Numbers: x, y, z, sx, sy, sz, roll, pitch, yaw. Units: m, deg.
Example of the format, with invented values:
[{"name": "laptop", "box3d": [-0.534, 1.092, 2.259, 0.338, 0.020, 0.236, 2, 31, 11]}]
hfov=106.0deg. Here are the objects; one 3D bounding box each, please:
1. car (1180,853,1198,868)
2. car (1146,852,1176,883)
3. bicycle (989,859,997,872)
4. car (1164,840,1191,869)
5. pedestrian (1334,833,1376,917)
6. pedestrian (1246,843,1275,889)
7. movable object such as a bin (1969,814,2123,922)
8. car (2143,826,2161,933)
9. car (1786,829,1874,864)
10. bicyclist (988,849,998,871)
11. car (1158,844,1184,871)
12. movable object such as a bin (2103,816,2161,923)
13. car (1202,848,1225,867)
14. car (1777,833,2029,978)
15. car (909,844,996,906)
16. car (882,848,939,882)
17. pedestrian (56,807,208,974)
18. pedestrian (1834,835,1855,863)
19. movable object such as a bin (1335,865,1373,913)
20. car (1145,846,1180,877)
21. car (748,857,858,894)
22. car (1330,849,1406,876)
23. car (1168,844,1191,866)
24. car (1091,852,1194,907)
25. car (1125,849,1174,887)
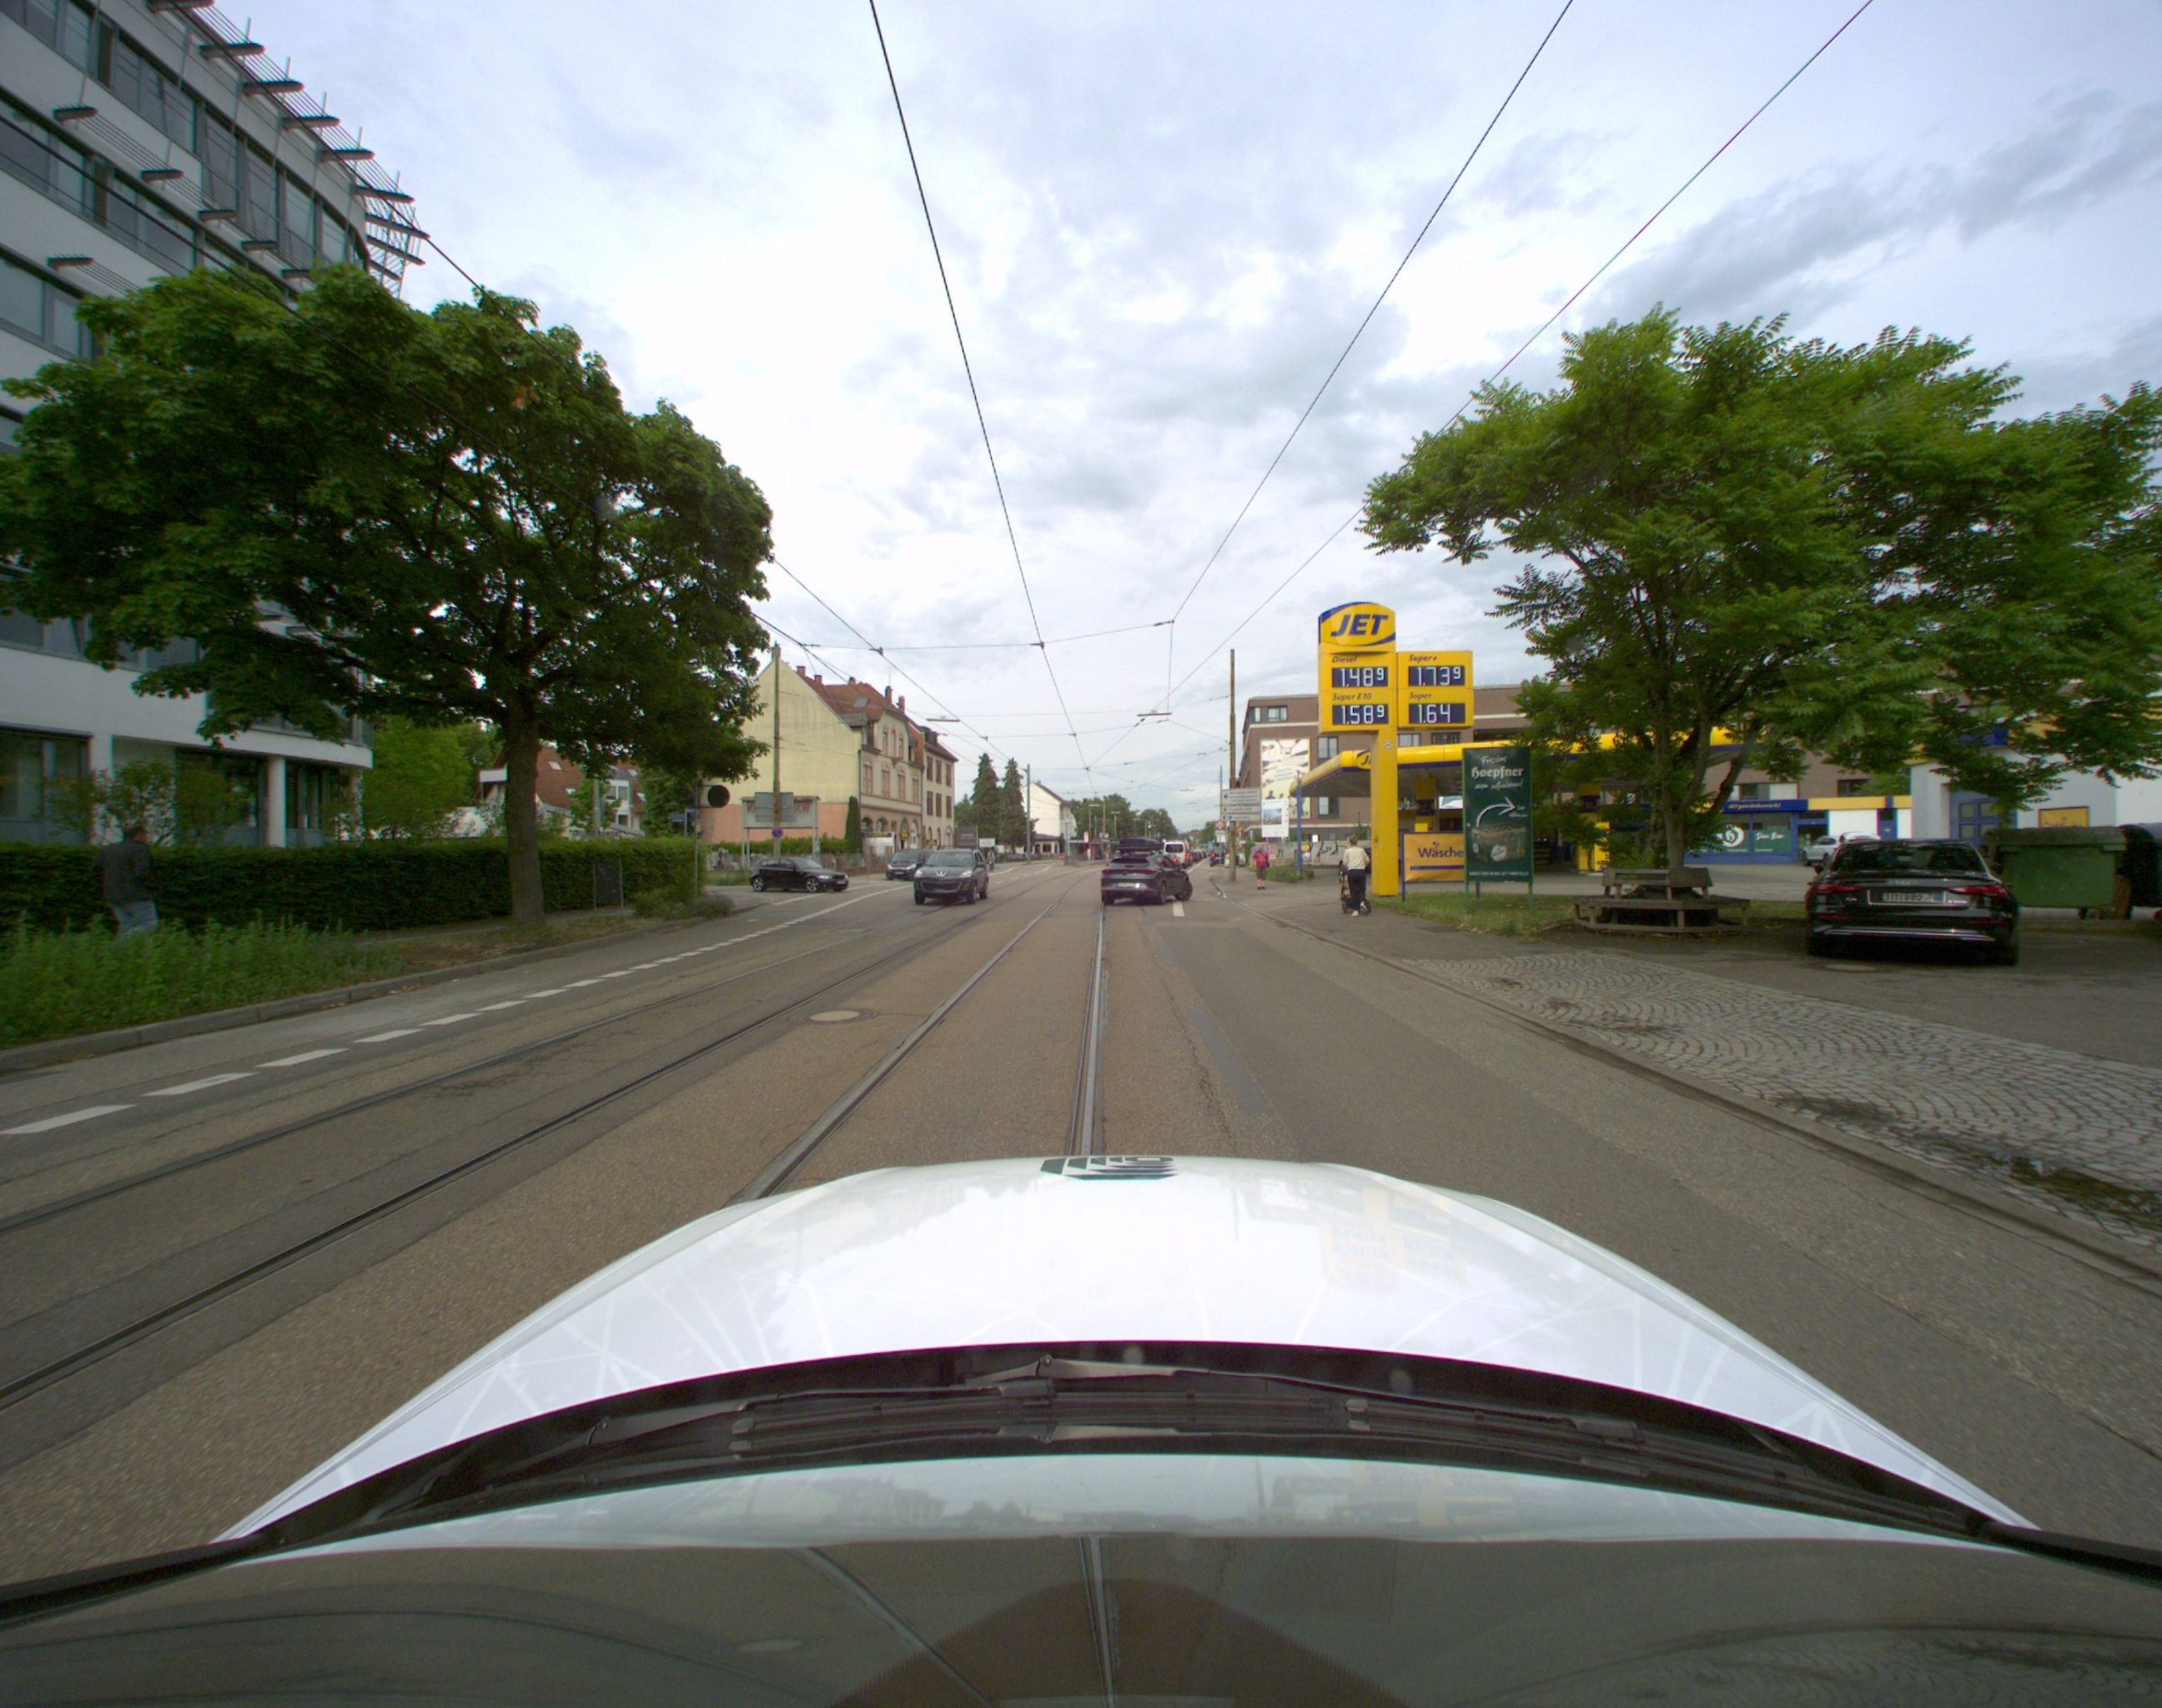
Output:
[{"name": "car", "box3d": [14.582, 0.851, 109.739, 1.986, 2.014, 4.002, 1, 0, 2]}, {"name": "car", "box3d": [5.535, 0.928, 57.064, 1.984, 2.014, 4.004, 1, 0, 4]}, {"name": "bicycle", "box3d": [-7.278, 0.949, 67.297, 0.586, 1.074, 1.951, -2, 0, -8]}, {"name": "car", "box3d": [8.456, 0.067, 71.669, 2.206, 2.423, 4.957, 1, 0, 4]}, {"name": "pedestrian", "box3d": [6.147, 0.458, 18.289, 0.762, 1.797, 1.167, -3, -1, 16]}, {"name": "pedestrian", "box3d": [7.095, 0.483, 32.224, 0.967, 1.738, 0.862, -3, -1, 5]}, {"name": "movable object such as a bin", "box3d": [14.802, 0.181, 12.567, 1.404, 1.514, 1.131, 0, 4, 43]}, {"name": "car", "box3d": [13.853, 0.355, 8.993, 1.854, 1.427, 4.569, -4, -1, 44]}, {"name": "car", "box3d": [37.572, -0.344, 40.986, 1.818, 1.638, 4.502, 1, 0, 22]}, {"name": "bicyclist", "box3d": [-7.294, 0.470, 67.301, 0.735, 1.749, 0.976, -2, 0, -8]}, {"name": "car", "box3d": [7.090, 0.305, 64.205, 1.984, 2.014, 4.006, 1, 0, 5]}, {"name": "movable object such as a bin", "box3d": [15.770, 0.208, 11.618, 1.278, 1.490, 1.131, 2, 4, 42]}, {"name": "car", "box3d": [12.959, 0.343, 79.746, 1.865, 1.823, 4.102, 1, 0, 5]}, {"name": "car", "box3d": [10.514, 0.489, 10.508, 4.611, 1.407, 1.911, -2, 1, -44]}, {"name": "car", "box3d": [-3.903, 0.608, 25.471, 1.820, 1.737, 4.338, -1, 0, 3]}, {"name": "car", "box3d": [-10.141, 0.659, 48.876, 1.982, 1.887, 5.005, 1, 0, 5]}, {"name": "pedestrian", "box3d": [-12.075, 0.444, 10.396, 0.706, 2.014, 0.993, 1, -1, 9]}, {"name": "pedestrian", "box3d": [36.406, -0.240, 38.827, 0.573, 1.347, 0.615, 0, -1, 26]}, {"name": "movable object such as a bin", "box3d": [6.447, 0.817, 19.270, 0.762, 1.039, 1.028, -3, -1, 16]}, {"name": "car", "box3d": [4.983, 0.459, 50.134, 1.960, 1.756, 3.841, 1, 0, 3]}, {"name": "car", "box3d": [-10.988, 0.821, 32.199, 3.885, 1.388, 1.812, 0, 0, 23]}, {"name": "car", "box3d": [16.369, 0.438, 46.675, 1.947, 1.427, 4.869, -1, 0, -10]}, {"name": "car", "box3d": [9.794, 0.134, 81.007, 2.129, 2.145, 4.750, 1, 0, 5]}, {"name": "car", "box3d": [1.982, 0.697, 24.716, 1.973, 1.497, 4.348, -1, 0, 20]}, {"name": "car", "box3d": [2.991, 0.592, 36.252, 1.974, 1.550, 4.185, 1, 0, 2]}]
